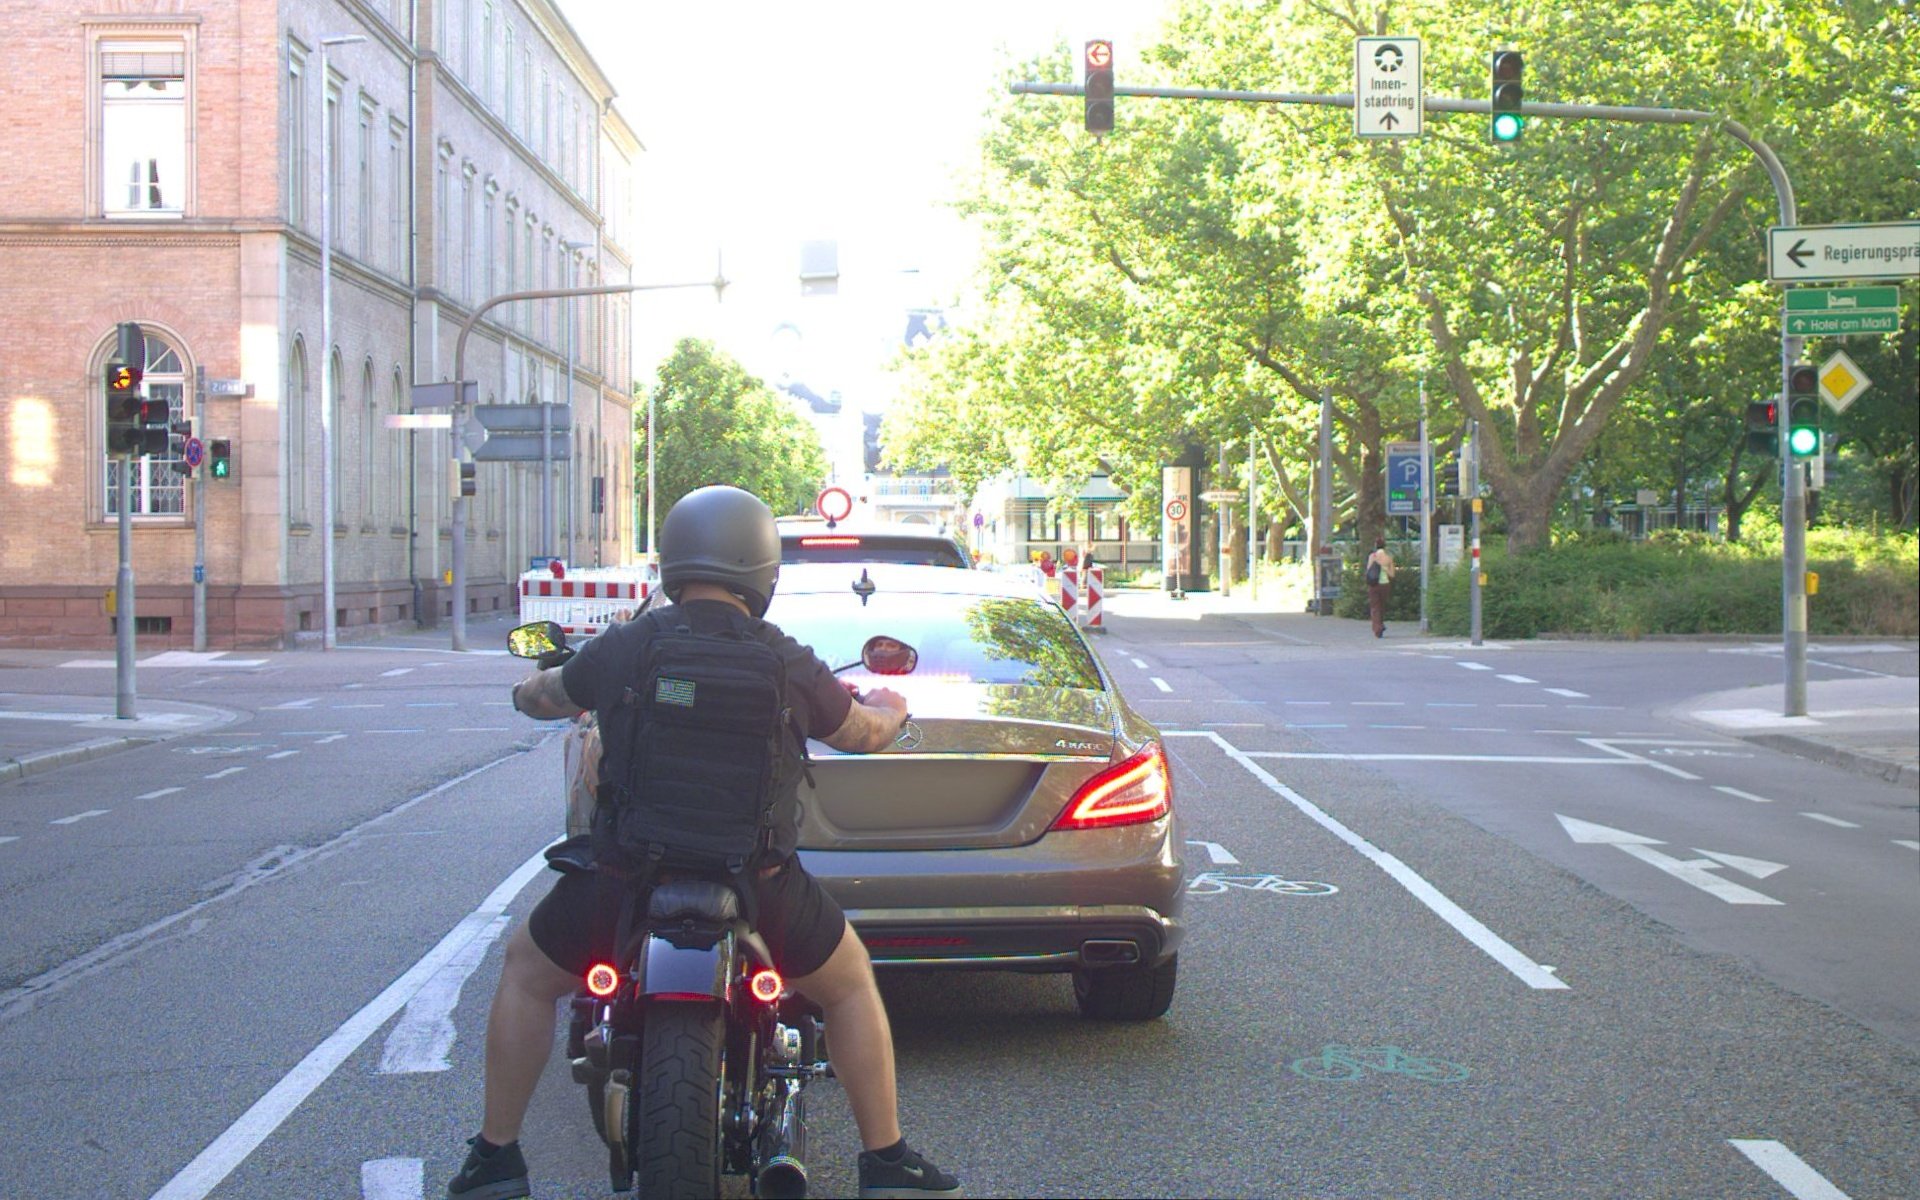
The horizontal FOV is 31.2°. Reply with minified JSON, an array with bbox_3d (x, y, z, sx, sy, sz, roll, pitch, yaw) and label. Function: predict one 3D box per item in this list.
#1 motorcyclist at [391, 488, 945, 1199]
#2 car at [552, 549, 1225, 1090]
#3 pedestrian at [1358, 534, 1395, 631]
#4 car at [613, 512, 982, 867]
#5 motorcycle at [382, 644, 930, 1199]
[{"bbox_3d":[-0.595,0.567,7.521,1.113,1.607,1.202,0,1,-1],"label":"motorcyclist"},{"bbox_3d":[-0.443,0.566,11.634,1.821,1.471,4.354,0,1,-7],"label":"car"},{"bbox_3d":[7.245,-0.311,59.776,0.559,1.672,0.565,0,1,-1],"label":"pedestrian"},{"bbox_3d":[-0.802,0.379,17.598,1.681,1.619,3.841,0,1,-2],"label":"car"},{"bbox_3d":[-0.575,0.740,7.662,1.007,1.200,2.665,0,1,-1],"label":"motorcycle"}]
